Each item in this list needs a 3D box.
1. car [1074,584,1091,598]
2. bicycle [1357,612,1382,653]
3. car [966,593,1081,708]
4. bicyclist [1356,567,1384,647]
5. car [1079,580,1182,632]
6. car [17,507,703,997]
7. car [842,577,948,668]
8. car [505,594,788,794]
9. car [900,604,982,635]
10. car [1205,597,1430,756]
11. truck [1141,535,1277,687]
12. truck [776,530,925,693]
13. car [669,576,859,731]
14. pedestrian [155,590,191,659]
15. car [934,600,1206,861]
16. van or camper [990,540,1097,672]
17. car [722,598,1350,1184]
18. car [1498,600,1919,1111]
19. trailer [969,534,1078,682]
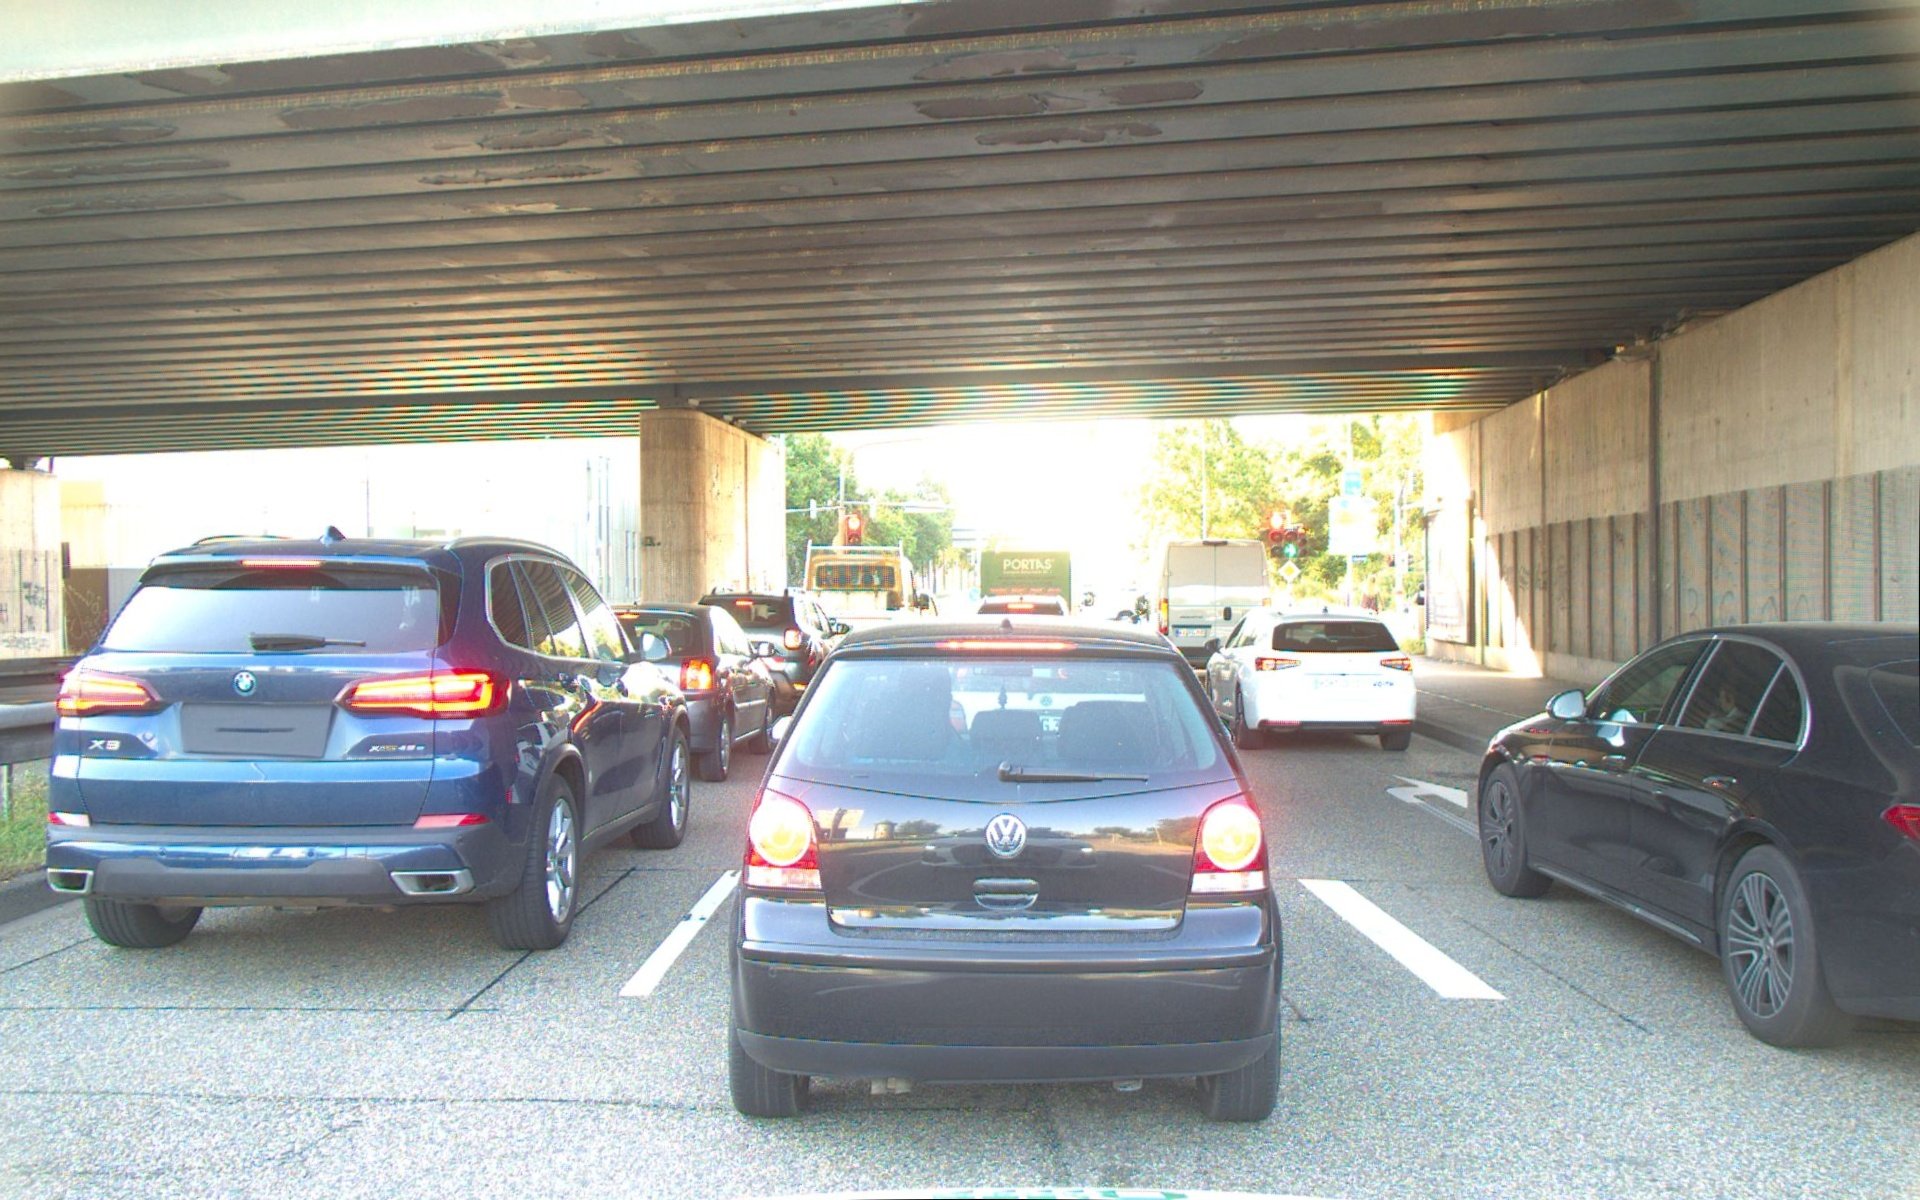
[{"bbox_3d":[12.195,-0.900,165.036,1.312,1.304,2.892,-3,-1,-2],"label":"car"},{"bbox_3d":[10.114,0.793,40.848,0.566,0.980,2.888,-1,-1,14],"label":"bicycle"},{"bbox_3d":[0.944,0.722,24.367,1.549,1.559,3.833,0,-1,2],"label":"car"},{"bbox_3d":[10.154,0.176,40.969,0.667,1.940,0.834,0,-1,14],"label":"bicyclist"},{"bbox_3d":[6.430,0.237,62.347,3.714,1.713,1.666,-4,-1,8],"label":"car"},{"bbox_3d":[-2.542,0.587,8.279,1.792,1.769,4.461,-1,-1,0],"label":"car"},{"bbox_3d":[-1.413,0.511,37.374,1.951,1.934,4.002,0,-1,4],"label":"car"},{"bbox_3d":[-2.663,0.764,14.889,1.804,1.465,3.674,-3,-1,-1],"label":"car"},{"bbox_3d":[-0.690,0.691,59.478,2.774,1.100,1.214,0,-1,-13],"label":"car"},{"bbox_3d":[3.815,0.784,18.262,1.735,1.521,3.832,-2,-1,2],"label":"car"},{"bbox_3d":[4.557,0.221,30.882,2.067,2.564,4.403,-2,-1,3],"label":"truck"},{"bbox_3d":[-1.822,0.227,29.356,1.985,2.601,5.539,0,-1,3],"label":"truck"},{"bbox_3d":[-2.484,0.669,21.929,1.803,1.749,4.001,-3,-1,2],"label":"car"},{"bbox_3d":[-22.214,0.701,46.702,0.679,1.937,0.665,0,-1,4],"label":"pedestrian"},{"bbox_3d":[0.672,0.747,11.202,1.515,1.448,3.418,2,0,1],"label":"car"},{"bbox_3d":[1.905,0.159,35.862,1.951,2.616,5.921,0,-1,6],"label":"van or camper"},{"bbox_3d":[0.143,0.752,6.004,1.550,1.433,3.830,0,-1,-2],"label":"car"},{"bbox_3d":[3.727,0.772,6.523,1.705,1.480,4.606,0,1,0],"label":"car"},{"bbox_3d":[1.231,0.164,30.481,1.825,2.508,3.833,-2,-1,4],"label":"trailer"}]
